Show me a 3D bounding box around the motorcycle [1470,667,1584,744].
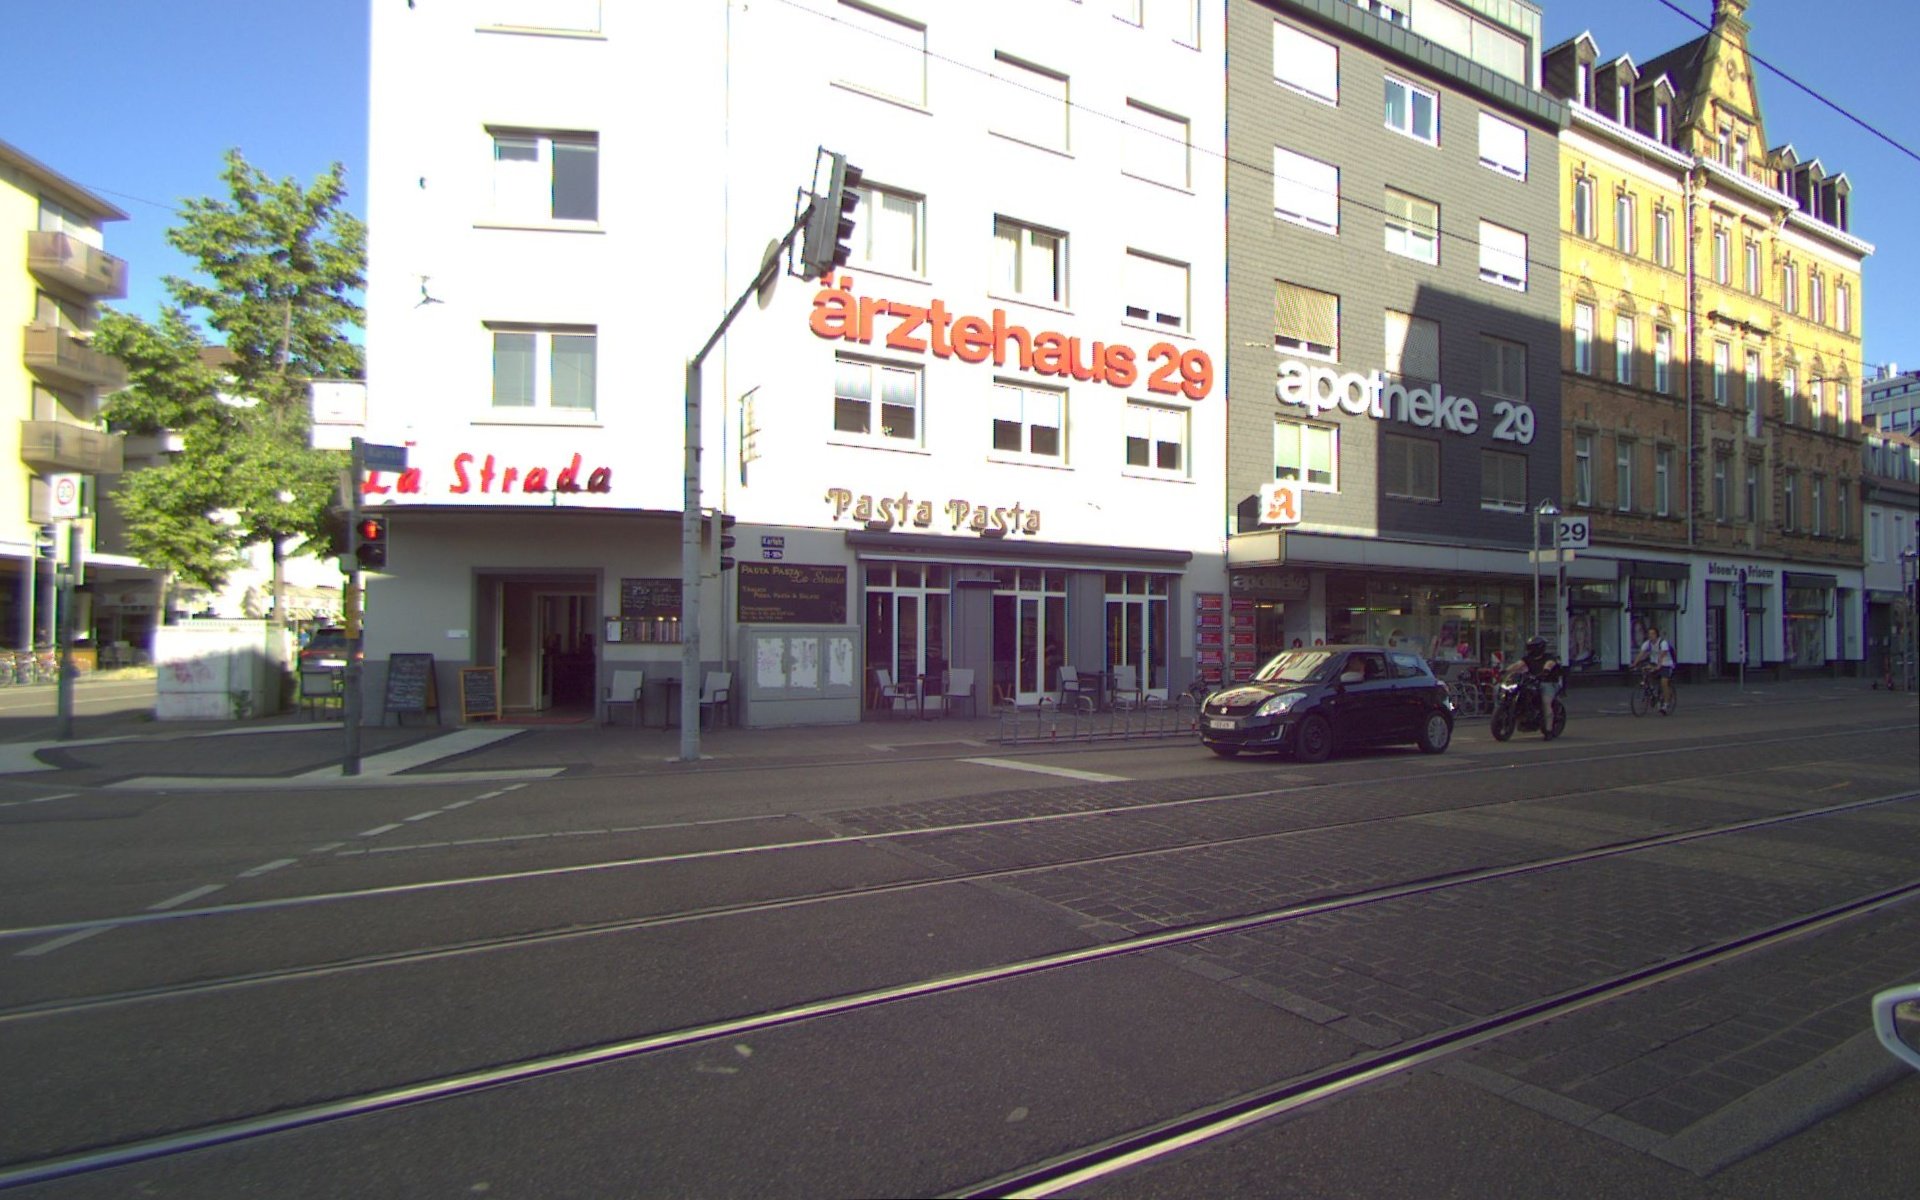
[{"bbox_3d":[8.999,1.639,15.909,2.092,1.134,0.567,1,-3,-30],"label":"motorcycle"}]

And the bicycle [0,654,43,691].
[{"bbox_3d":[-25.963,1.934,26.661,2.366,0.971,0.543,1,-2,-18],"label":"bicycle"}]

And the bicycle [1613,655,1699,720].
[{"bbox_3d":[14.943,1.846,21.551,2.002,1.310,0.747,1,-2,-30],"label":"bicycle"}]

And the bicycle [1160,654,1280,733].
[{"bbox_3d":[4.590,1.619,17.906,0.766,1.240,2.090,1,-1,-34],"label":"bicycle"}]

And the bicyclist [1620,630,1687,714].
[{"bbox_3d":[14.869,1.526,21.532,1.132,1.752,0.747,1,-2,-29],"label":"bicyclist"}]

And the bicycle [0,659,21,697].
[{"bbox_3d":[-25.832,2.024,25.945,2.192,0.971,0.653,1,-2,-18],"label":"bicycle"}]

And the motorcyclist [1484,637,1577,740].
[{"bbox_3d":[9.097,1.386,16.027,1.132,1.578,0.800,1,-3,-29],"label":"motorcyclist"}]

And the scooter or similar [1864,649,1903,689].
[{"bbox_3d":[29.733,2.219,32.347,1.461,1.218,0.576,1,0,-33],"label":"scooter or similar"}]

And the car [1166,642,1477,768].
[{"bbox_3d":[4.947,1.337,13.653,4.089,1.464,1.706,1,-4,-30],"label":"car"}]

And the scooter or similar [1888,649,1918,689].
[{"bbox_3d":[29.972,2.184,31.924,1.461,1.218,0.362,1,0,-33],"label":"scooter or similar"}]

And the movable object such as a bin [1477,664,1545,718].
[{"bbox_3d":[12.000,1.962,21.885,0.690,1.077,1.094,1,-1,-29],"label":"movable object such as a bin"}]

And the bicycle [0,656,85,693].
[{"bbox_3d":[-25.992,2.074,27.988,2.358,0.990,0.654,1,-2,-16],"label":"bicycle"}]

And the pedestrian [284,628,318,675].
[{"bbox_3d":[-29.769,2.314,45.378,0.940,2.040,1.085,-3,-1,-19],"label":"pedestrian"}]

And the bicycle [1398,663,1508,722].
[{"bbox_3d":[10.213,1.893,20.868,0.766,1.125,1.922,1,-2,-34],"label":"bicycle"}]

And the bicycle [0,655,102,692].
[{"bbox_3d":[-26.208,2.101,28.803,2.365,1.019,0.654,1,-2,-17],"label":"bicycle"}]

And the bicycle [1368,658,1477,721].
[{"bbox_3d":[9.424,1.803,20.538,0.766,1.167,1.922,1,-2,-34],"label":"bicycle"}]

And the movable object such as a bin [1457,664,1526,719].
[{"bbox_3d":[11.374,1.946,21.534,0.726,1.086,1.094,1,-1,-29],"label":"movable object such as a bin"}]

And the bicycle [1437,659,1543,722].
[{"bbox_3d":[11.021,1.852,20.951,0.546,1.205,1.923,1,-2,-33],"label":"bicycle"}]
